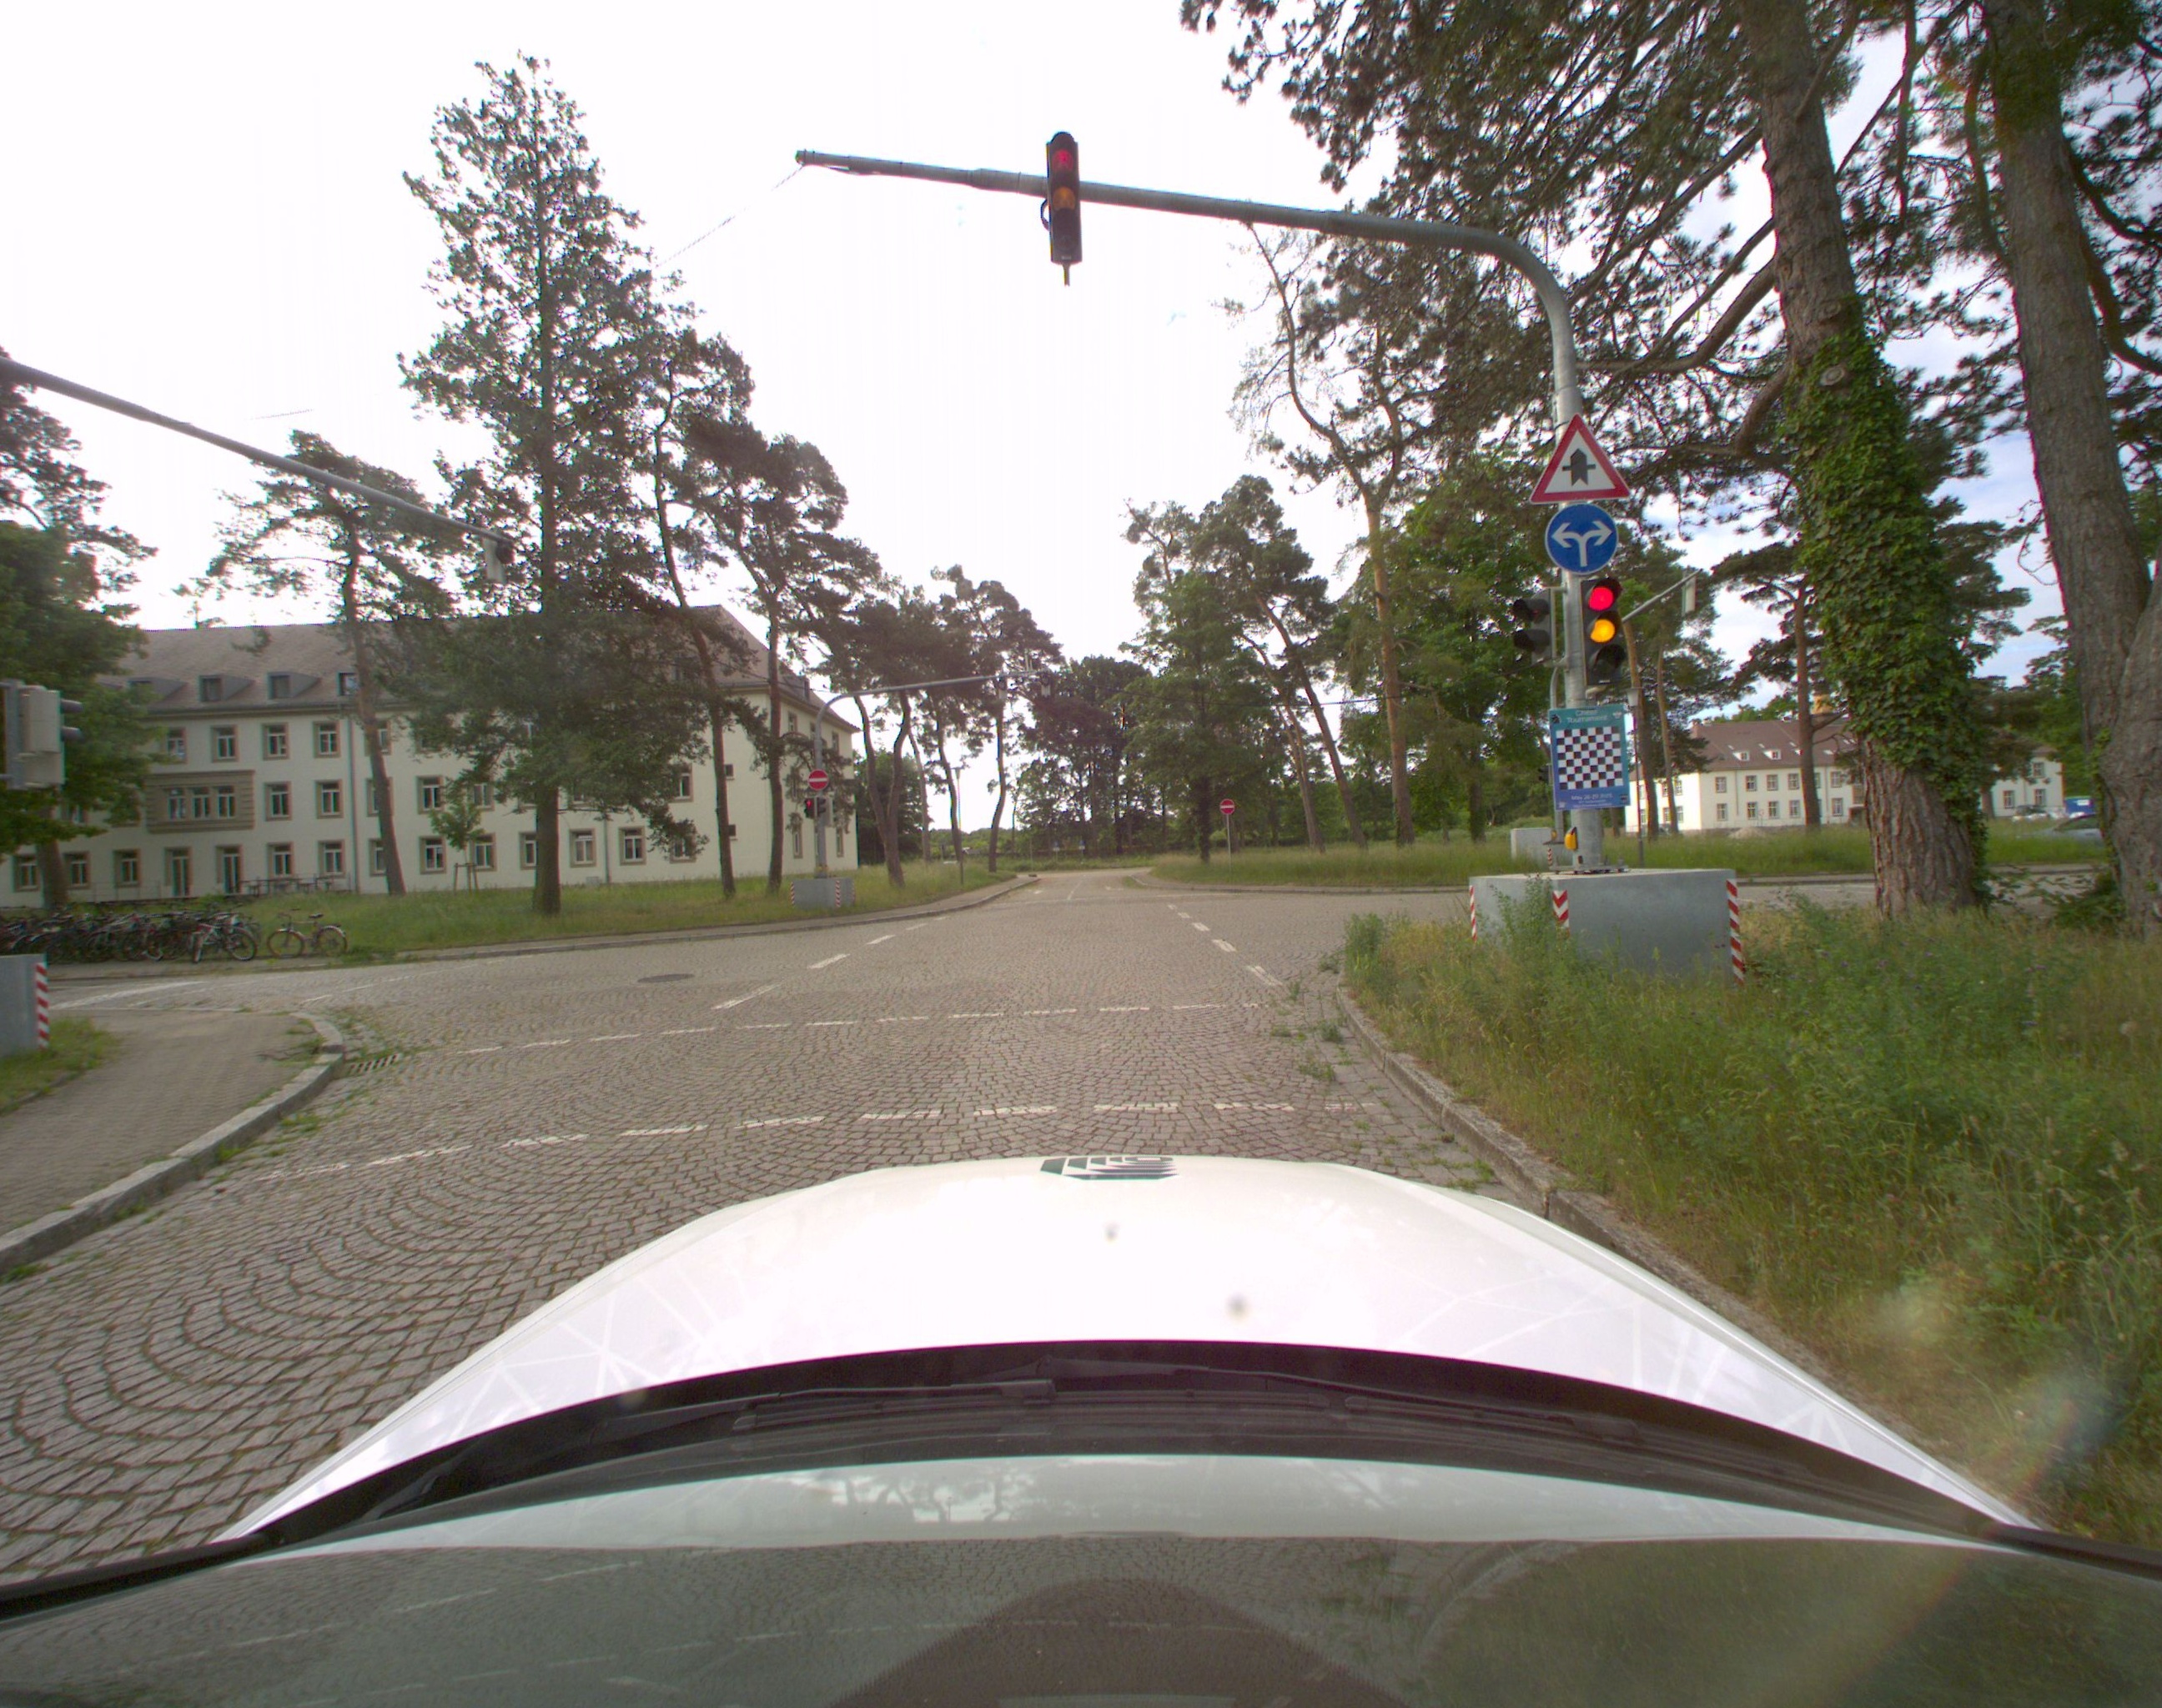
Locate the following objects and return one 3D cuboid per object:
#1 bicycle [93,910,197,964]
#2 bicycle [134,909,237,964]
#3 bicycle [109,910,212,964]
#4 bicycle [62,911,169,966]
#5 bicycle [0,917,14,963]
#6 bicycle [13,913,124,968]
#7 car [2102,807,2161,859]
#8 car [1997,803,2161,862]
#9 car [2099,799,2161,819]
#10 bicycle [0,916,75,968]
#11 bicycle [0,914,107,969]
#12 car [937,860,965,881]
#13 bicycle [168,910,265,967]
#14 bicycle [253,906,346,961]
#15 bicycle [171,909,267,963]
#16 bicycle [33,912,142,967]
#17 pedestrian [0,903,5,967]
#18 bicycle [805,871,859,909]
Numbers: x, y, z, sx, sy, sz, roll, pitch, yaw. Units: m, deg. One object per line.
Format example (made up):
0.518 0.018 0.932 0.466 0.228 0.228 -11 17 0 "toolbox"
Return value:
-21.734 1.908 18.952 0.512 1.079 1.586 -3 0 2 "bicycle"
-20.671 1.888 18.848 0.512 1.079 1.587 -3 0 4 "bicycle"
-21.373 1.901 18.946 0.512 1.079 1.586 -3 0 2 "bicycle"
-22.364 1.930 18.909 0.512 1.079 1.586 -3 0 2 "bicycle"
-26.145 2.079 18.930 0.512 1.079 1.586 -3 0 2 "bicycle"
-23.438 1.975 18.888 0.512 1.079 1.586 -3 0 2 "bicycle"
31.131 -0.624 22.050 1.727 1.468 4.246 -2 0 3 "car"
28.518 -0.585 22.498 1.727 1.509 4.246 -2 0 3 "car"
109.836 -4.693 85.284 4.049 1.905 1.927 -1 0 -1 "car"
-24.617 2.044 18.887 0.512 1.079 1.586 -3 0 2 "bicycle"
-23.822 2.012 18.882 0.512 1.079 1.586 -3 0 2 "bicycle"
-11.998 1.516 75.476 1.988 1.846 3.998 -1 0 -1 "car"
-18.605 1.814 17.541 1.460 1.079 0.516 -3 0 -1 "bicycle"
-16.969 1.709 17.698 1.460 1.065 0.516 -3 0 -1 "bicycle"
-19.992 1.875 18.933 0.513 1.079 1.584 -3 0 -1 "bicycle"
-22.986 1.964 18.892 0.512 1.079 1.586 -3 0 2 "bicycle"
-25.243 1.719 18.238 1.050 1.788 1.165 -2 1 29 "pedestrian"
-7.747 1.108 25.341 1.460 1.065 0.516 -3 1 -1 "bicycle"
